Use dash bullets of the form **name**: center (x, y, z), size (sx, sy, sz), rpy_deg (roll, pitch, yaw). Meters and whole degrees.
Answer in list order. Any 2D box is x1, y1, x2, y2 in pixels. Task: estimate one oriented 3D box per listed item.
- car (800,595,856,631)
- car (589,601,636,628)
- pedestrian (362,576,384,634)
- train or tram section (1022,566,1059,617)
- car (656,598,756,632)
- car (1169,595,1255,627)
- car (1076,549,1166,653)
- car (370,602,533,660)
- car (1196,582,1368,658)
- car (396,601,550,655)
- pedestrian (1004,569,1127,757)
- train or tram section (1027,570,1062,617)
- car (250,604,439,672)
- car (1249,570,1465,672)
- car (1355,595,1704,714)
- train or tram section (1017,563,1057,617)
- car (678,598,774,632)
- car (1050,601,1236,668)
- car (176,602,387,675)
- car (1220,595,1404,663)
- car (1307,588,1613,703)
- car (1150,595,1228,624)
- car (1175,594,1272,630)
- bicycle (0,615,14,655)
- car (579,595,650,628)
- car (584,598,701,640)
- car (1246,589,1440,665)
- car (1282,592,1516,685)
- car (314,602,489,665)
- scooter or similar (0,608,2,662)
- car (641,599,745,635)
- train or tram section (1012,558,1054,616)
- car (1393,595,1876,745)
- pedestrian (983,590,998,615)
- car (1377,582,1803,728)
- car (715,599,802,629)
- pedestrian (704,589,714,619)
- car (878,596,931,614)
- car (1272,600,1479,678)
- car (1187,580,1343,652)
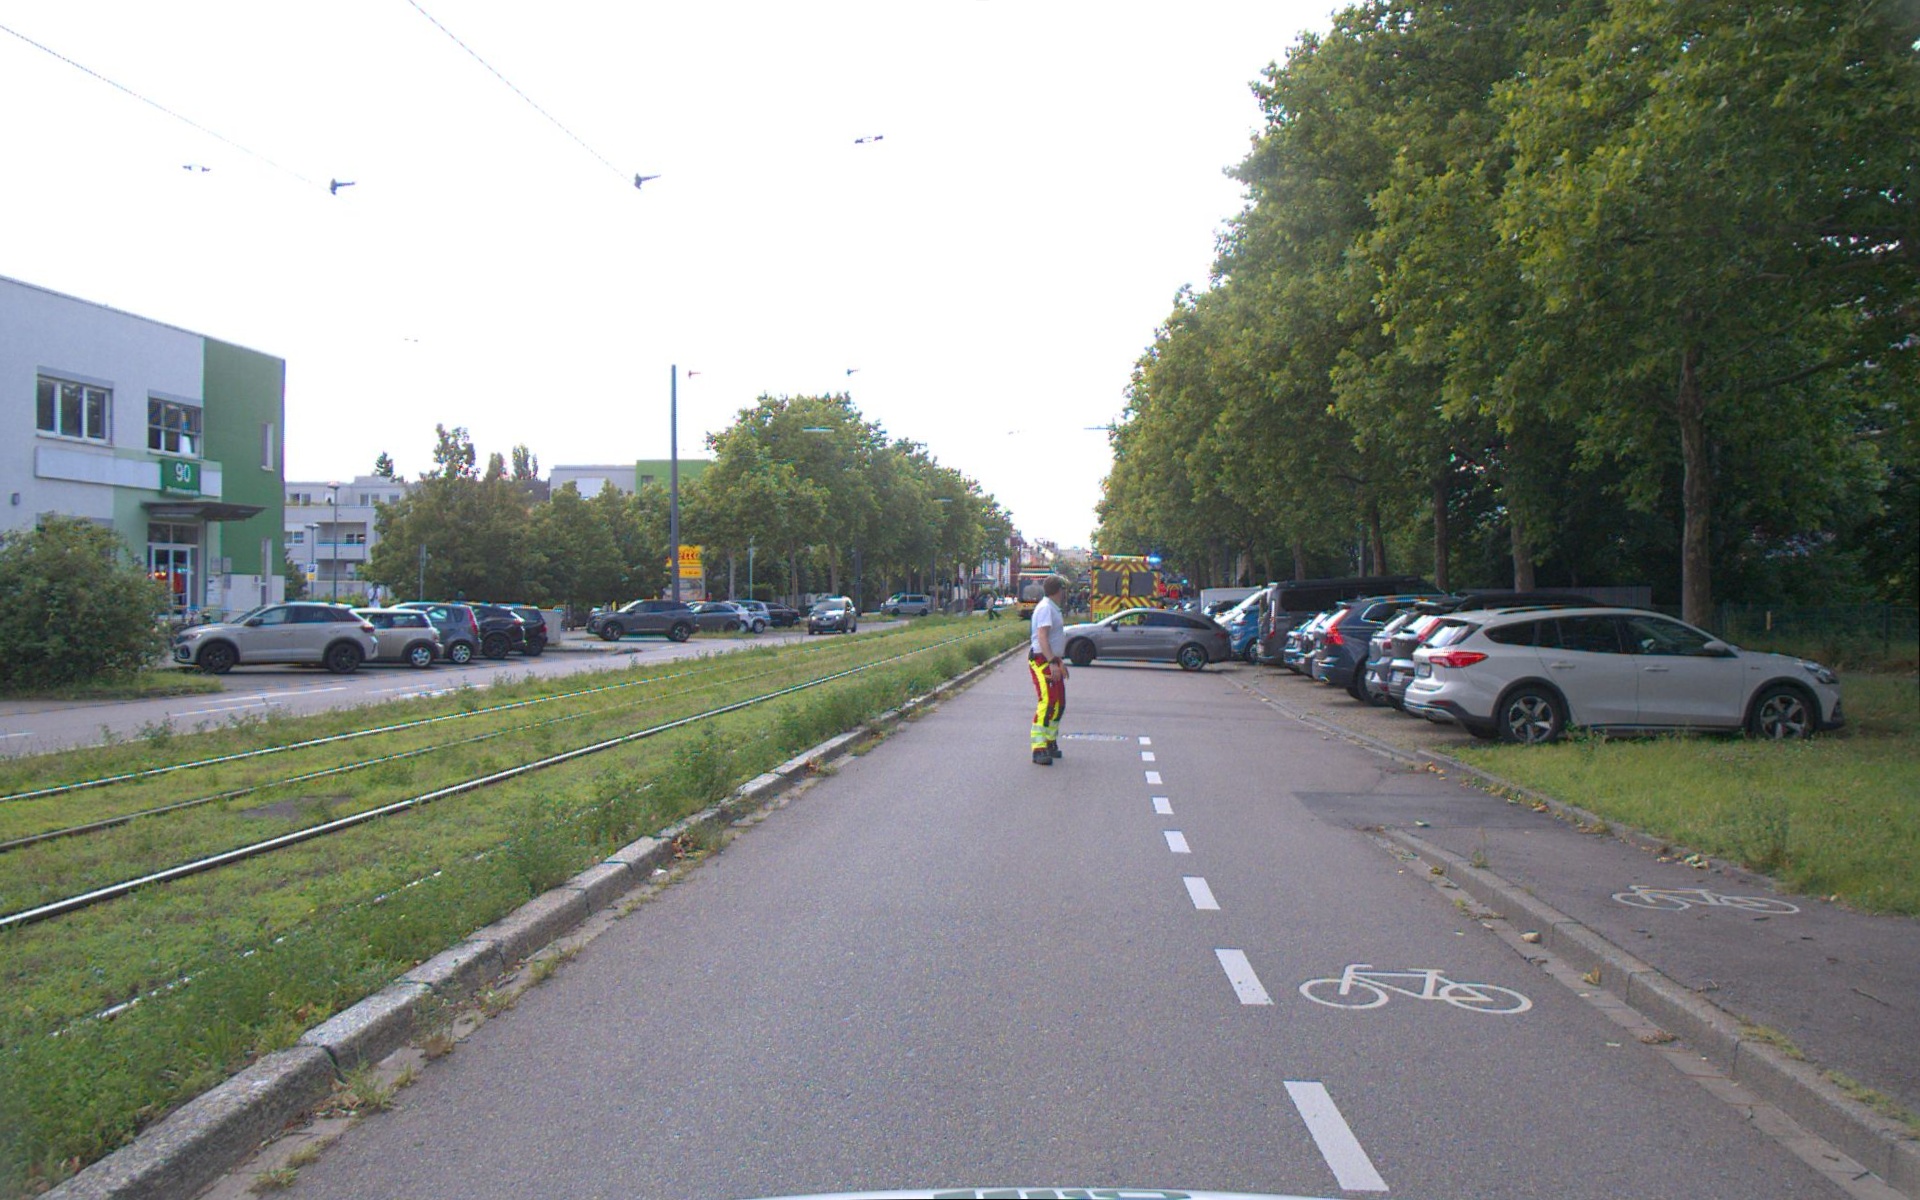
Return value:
- **car**: center (-6.182, 0.581, 77.836), size (1.951, 1.585, 4.372), rpy_deg (-1, 0, 4)
- **car**: center (-23.631, 0.966, 112.551), size (1.951, 1.780, 4.002), rpy_deg (2, 0, 5)
- **pedestrian**: center (-18.946, 0.152, 53.386), size (0.534, 1.860, 0.509), rpy_deg (0, 0, 3)
- **train or tram section**: center (6.148, -0.573, 124.888), size (2.459, 3.647, 7.449), rpy_deg (-1, -1, 5)
- **car**: center (-11.721, 0.693, 76.245), size (4.178, 1.508, 1.864), rpy_deg (1, -1, -31)
- **car**: center (13.773, 0.595, 90.664), size (4.451, 1.637, 1.856), rpy_deg (-1, 0, 1)
- **car**: center (5.246, 0.038, 53.253), size (2.585, 3.018, 6.304), rpy_deg (3, 0, 7)
- **car**: center (-14.076, 0.836, 45.785), size (4.166, 1.508, 1.869), rpy_deg (0, 0, -24)
- **car**: center (8.958, 0.547, 46.255), size (4.451, 2.036, 1.856), rpy_deg (-1, 0, 1)
- **car**: center (-14.363, 0.803, 48.795), size (4.166, 1.508, 1.869), rpy_deg (0, 0, -24)
- **pedestrian**: center (0.999, 0.575, 15.688), size (0.798, 1.716, 0.839), rpy_deg (1, 0, -38)
- **train or tram section**: center (6.776, -0.468, 132.288), size (2.459, 3.647, 7.449), rpy_deg (-1, -1, 5)
- **car**: center (-14.747, 0.871, 39.646), size (4.166, 1.508, 1.869), rpy_deg (0, 0, -24)
- **car**: center (8.850, 0.463, 37.174), size (4.450, 2.160, 1.857), rpy_deg (-1, 0, 5)
- **car**: center (7.778, 0.734, 22.922), size (4.287, 1.527, 1.757), rpy_deg (-1, 0, 7)
- **train or tram section**: center (5.525, -0.678, 117.464), size (2.459, 3.647, 7.449), rpy_deg (-1, -1, 5)
- **car**: center (-11.206, 0.719, 79.232), size (4.178, 1.508, 1.864), rpy_deg (1, -1, -31)
- **car**: center (4.449, 0.813, 40.222), size (4.359, 1.409, 1.768), rpy_deg (2, 0, 8)
- **car**: center (-15.063, 0.816, 36.758), size (4.175, 1.508, 1.865), rpy_deg (0, 0, -29)
- **car**: center (9.246, 0.742, 43.679), size (4.452, 1.689, 1.856), rpy_deg (-1, 0, 1)
- **car**: center (7.651, 0.689, 25.645), size (4.287, 1.668, 1.757), rpy_deg (-1, 0, 7)
- **car**: center (13.677, 0.550, 98.948), size (4.451, 1.637, 1.856), rpy_deg (-1, 0, 1)
- **car**: center (12.838, 0.583, 80.851), size (4.451, 1.637, 1.856), rpy_deg (-1, 0, 1)
- **bicycle**: center (-23.267, 0.795, 38.903), size (1.818, 0.915, 0.459), rpy_deg (2, -1, 5)
- **car**: center (-20.427, 0.671, 97.735), size (3.921, 1.780, 1.992), rpy_deg (2, 0, 37)
- **car**: center (-12.139, 0.712, 63.174), size (4.158, 1.508, 1.873), rpy_deg (1, 0, -20)
- **car**: center (9.459, 0.666, 41.114), size (4.450, 1.797, 1.857), rpy_deg (-1, 0, 5)
- **car**: center (8.243, 0.705, 31.236), size (3.888, 1.633, 1.754), rpy_deg (-1, 0, -5)
- **car**: center (-14.421, 0.834, 42.710), size (4.166, 1.508, 1.869), rpy_deg (0, 0, -24)
- **scooter or similar**: center (-21.916, 0.748, 36.287), size (1.280, 1.176, 1.090), rpy_deg (1, -1, 34)
- **car**: center (-11.824, 0.756, 73.332), size (4.178, 1.508, 1.864), rpy_deg (1, -1, -31)
- **train or tram section**: center (4.912, -0.782, 110.054), size (2.459, 3.647, 7.449), rpy_deg (-1, -1, 5)
- **car**: center (7.294, 0.727, 18.237), size (4.562, 1.499, 1.848), rpy_deg (-1, 0, 1)
- **pedestrian**: center (1.958, 0.186, 105.901), size (0.862, 1.552, 0.751), rpy_deg (2, -1, 5)
- **car**: center (7.662, 0.653, 20.449), size (4.562, 1.654, 1.848), rpy_deg (-1, 0, 1)
- **car**: center (-10.635, 0.762, 87.425), size (4.185, 1.508, 1.861), rpy_deg (1, -1, -35)
- **pedestrian**: center (-14.465, 0.216, 95.350), size (0.456, 1.706, 0.603), rpy_deg (0, 0, 3)
- **car**: center (-5.070, 0.464, 151.764), size (4.572, 1.661, 1.861), rpy_deg (0, 0, -34)
- **car**: center (8.516, 0.791, 34.135), size (3.882, 1.520, 1.757), rpy_deg (-1, -1, 5)
- **car**: center (9.320, 0.487, 50.839), size (4.451, 2.079, 1.856), rpy_deg (-1, 0, 1)
